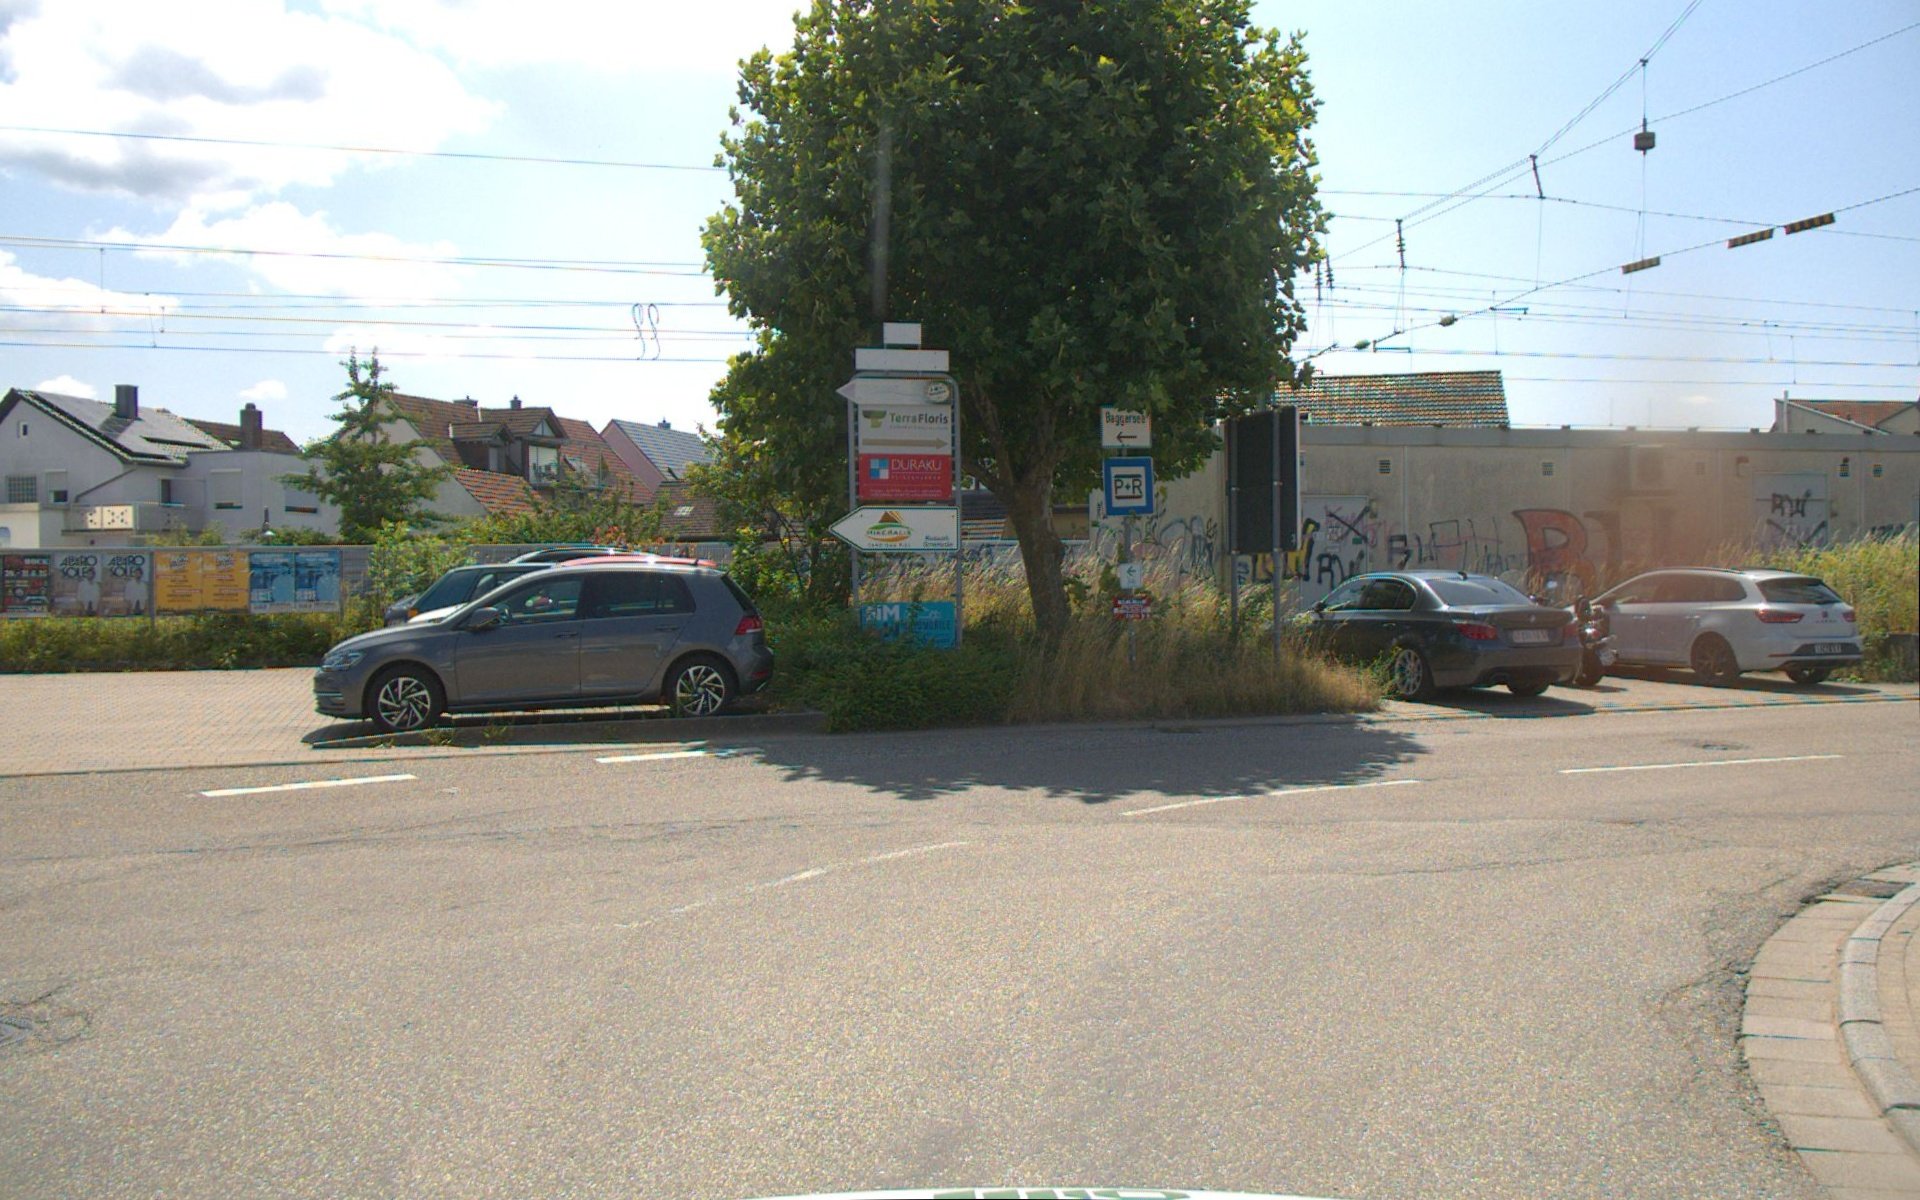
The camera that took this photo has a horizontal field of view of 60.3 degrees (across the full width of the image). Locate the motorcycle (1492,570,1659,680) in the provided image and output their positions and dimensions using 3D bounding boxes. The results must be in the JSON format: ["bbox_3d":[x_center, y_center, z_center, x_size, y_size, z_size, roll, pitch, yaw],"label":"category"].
[{"bbox_3d":[7.649,0.273,20.656,0.884,1.249,1.985,-1,2,-20],"label":"motorcycle"}]

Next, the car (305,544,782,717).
[{"bbox_3d":[-3.811,0.260,15.513,4.115,1.488,1.659,0,0,-13],"label":"car"}]

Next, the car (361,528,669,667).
[{"bbox_3d":[-6.073,-0.017,22.835,3.919,1.760,1.764,1,0,-14],"label":"car"}]

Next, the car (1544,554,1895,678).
[{"bbox_3d":[9.747,0.136,21.582,1.680,1.401,4.086,1,2,-23],"label":"car"}]

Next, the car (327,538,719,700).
[{"bbox_3d":[-4.682,0.175,18.049,3.919,1.614,1.774,-1,0,-14],"label":"car"}]

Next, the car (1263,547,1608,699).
[{"bbox_3d":[5.450,0.190,19.503,1.729,1.410,3.972,1,4,-24],"label":"car"}]

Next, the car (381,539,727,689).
[{"bbox_3d":[-4.933,0.124,20.362,3.919,1.686,1.993,-1,1,-14],"label":"car"}]
